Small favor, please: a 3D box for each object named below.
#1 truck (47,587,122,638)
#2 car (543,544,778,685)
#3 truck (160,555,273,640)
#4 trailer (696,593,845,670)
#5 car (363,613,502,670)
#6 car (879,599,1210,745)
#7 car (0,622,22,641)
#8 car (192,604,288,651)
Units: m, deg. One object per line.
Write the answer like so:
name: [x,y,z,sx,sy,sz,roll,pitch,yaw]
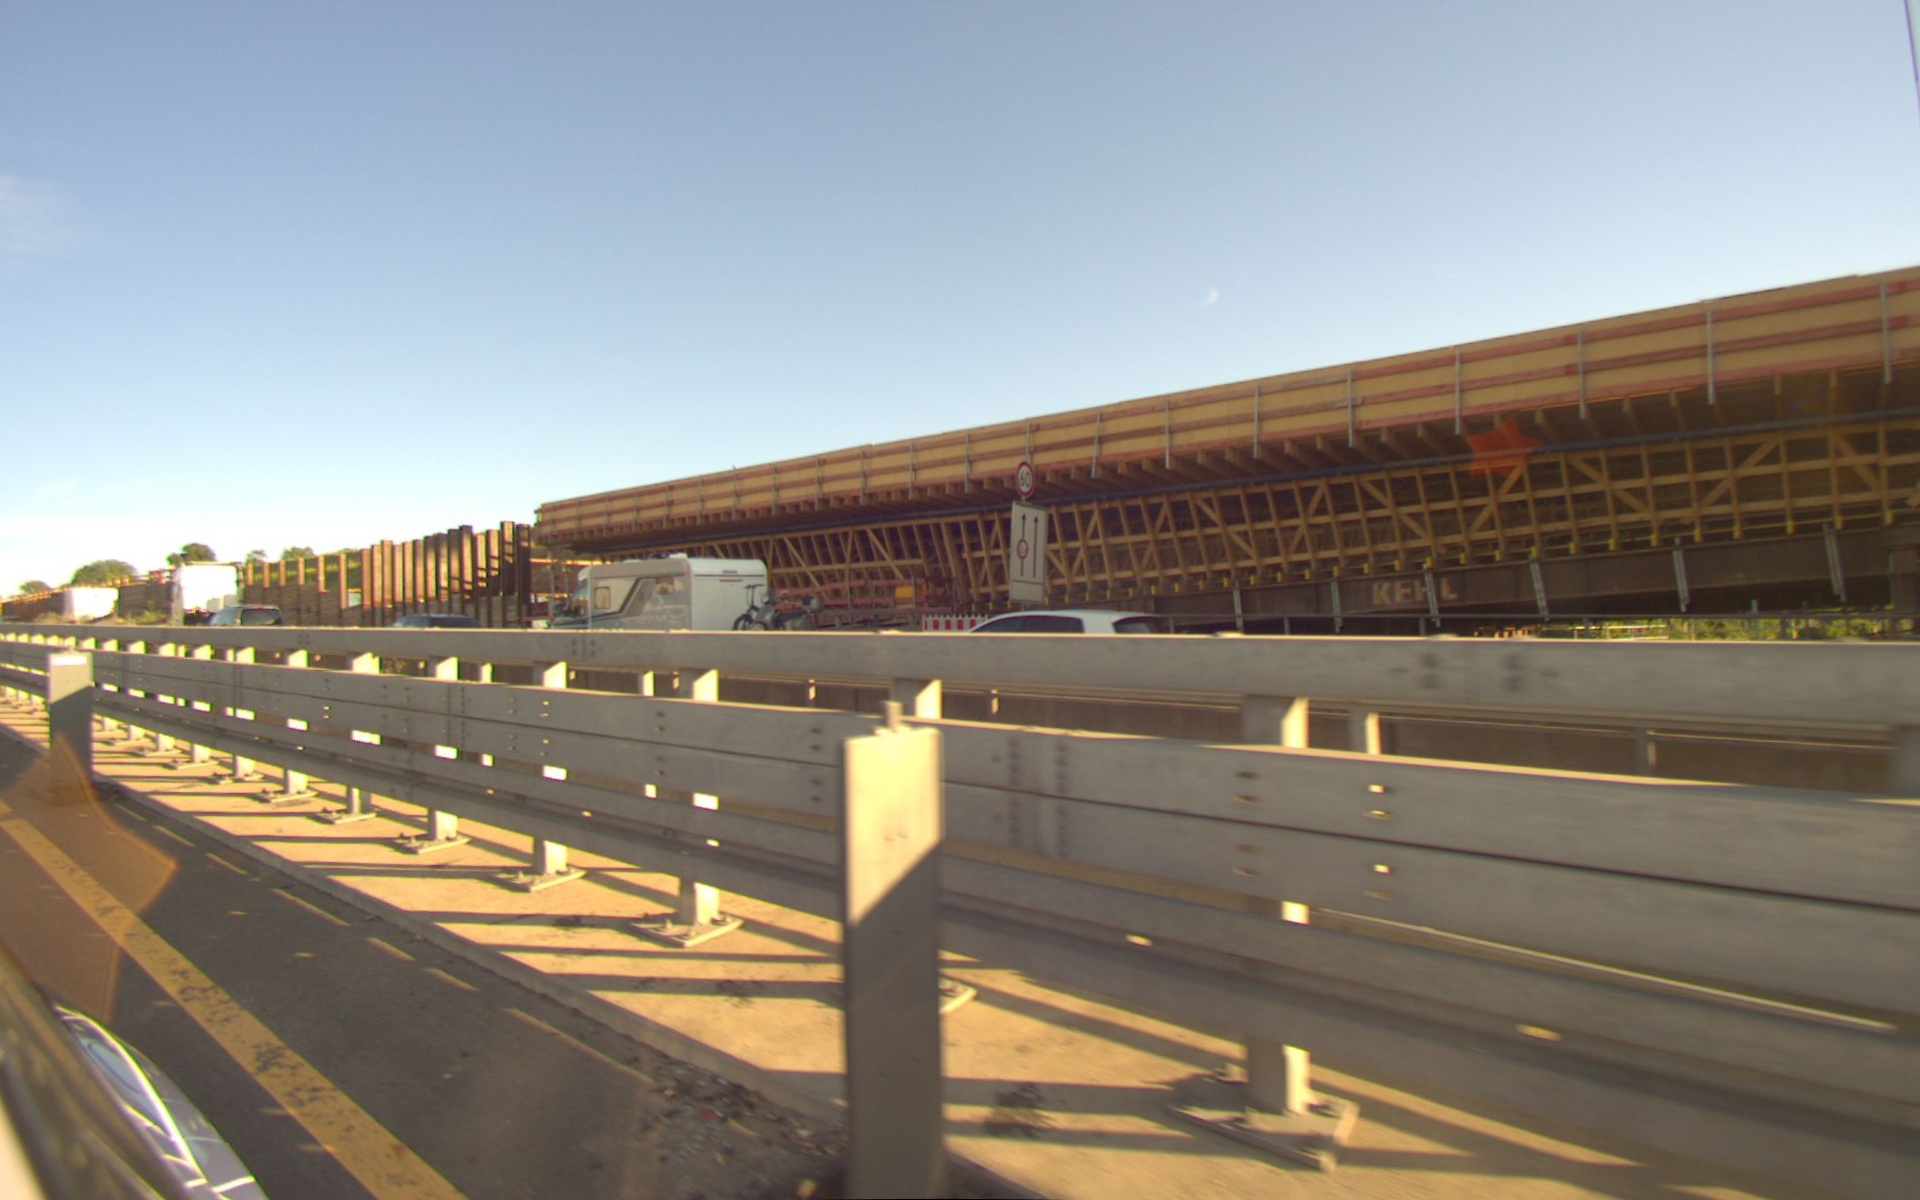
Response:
truck: [-59.394,0.831,68.608,7.158,3.267,2.739,-1,0,40]
car: [-7.319,0.333,24.371,6.155,2.989,2.305,-1,0,39]
truck: [-35.496,-0.071,48.212,7.158,3.754,2.761,-1,0,40]
trailer: [-4.055,0.639,21.726,2.142,1.524,2.300,-1,0,38]
car: [-13.465,1.008,25.747,4.110,1.287,1.712,-1,0,40]
car: [1.005,0.833,13.318,4.110,1.613,1.712,-1,0,40]
car: [-85.729,2.842,90.495,3.993,1.652,1.975,-1,0,37]
car: [-25.070,0.930,35.212,4.107,1.531,1.600,-1,0,38]
